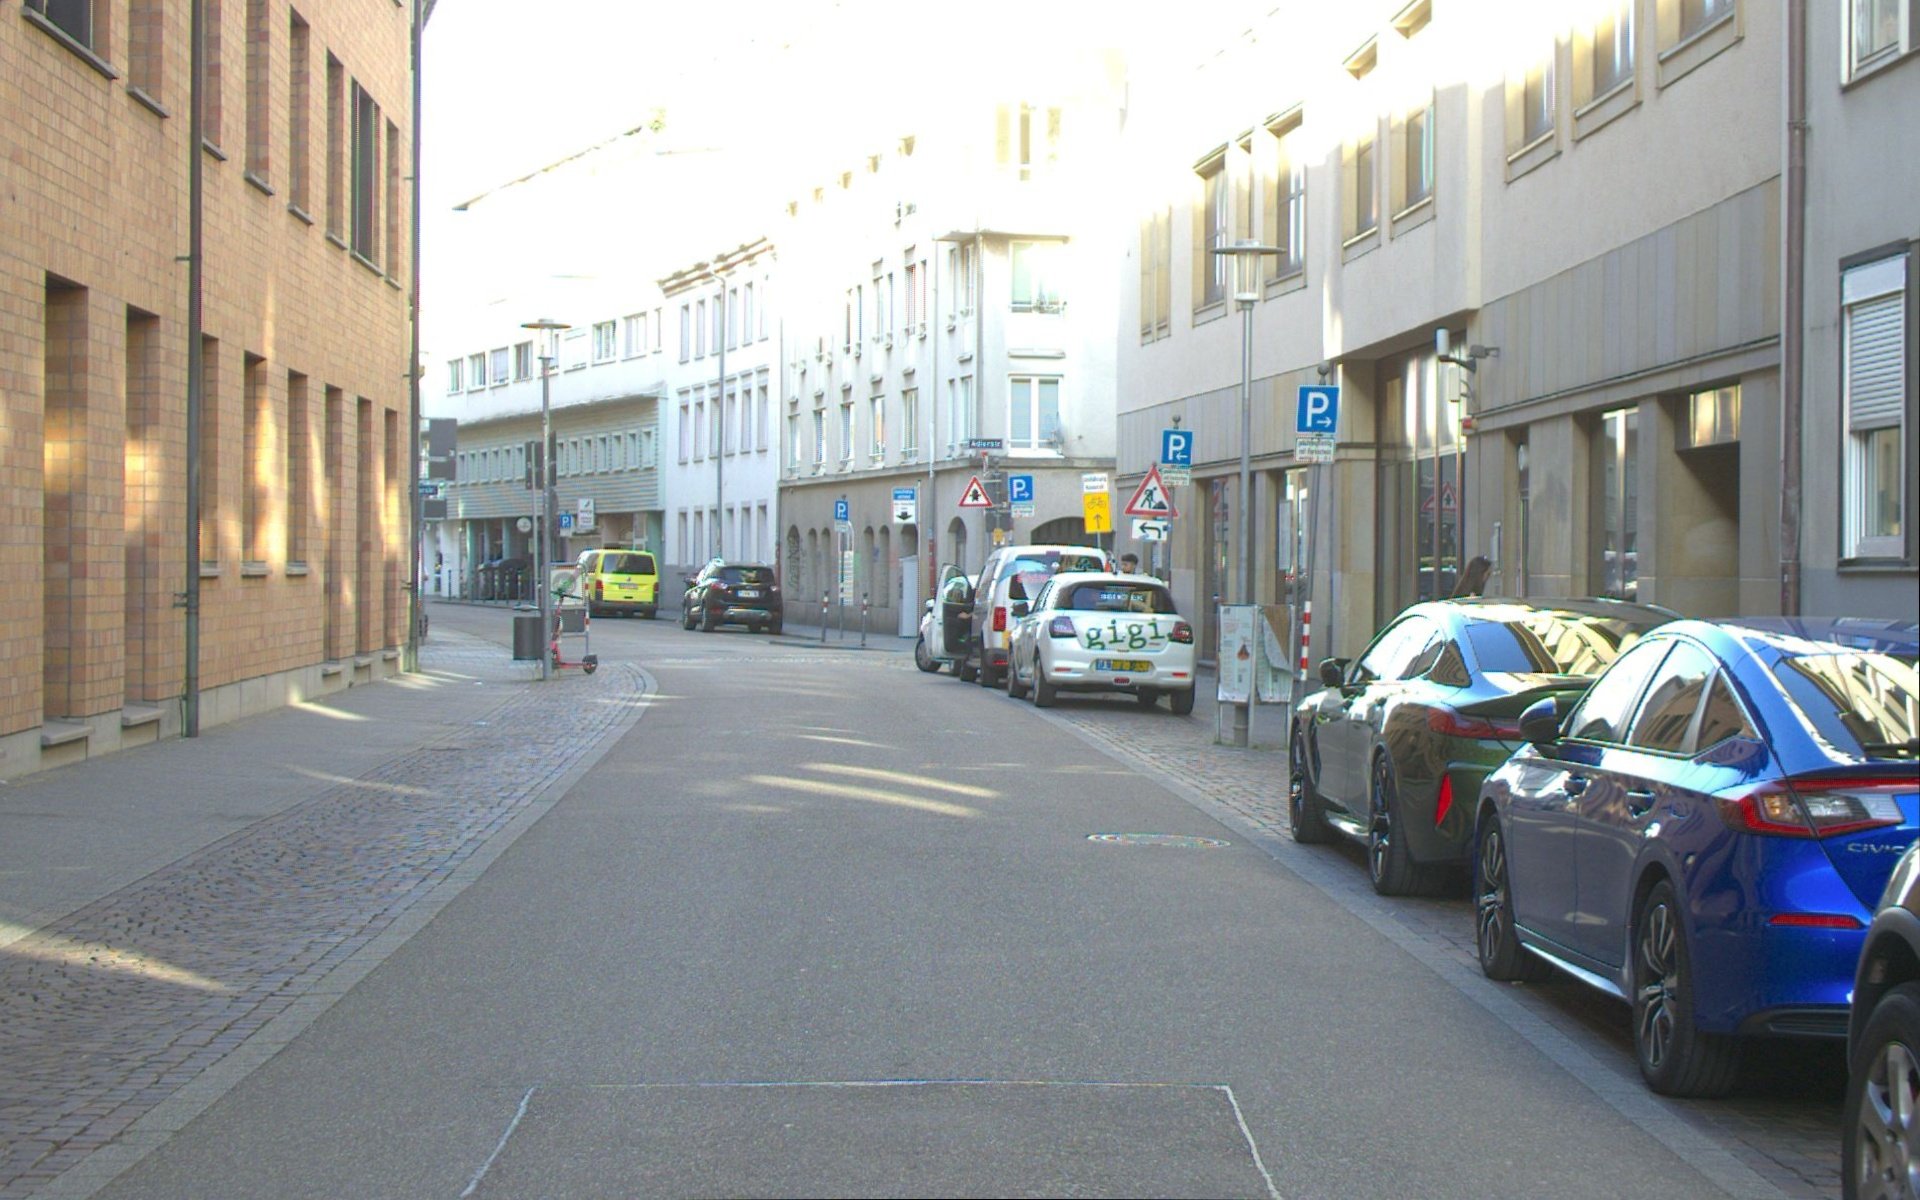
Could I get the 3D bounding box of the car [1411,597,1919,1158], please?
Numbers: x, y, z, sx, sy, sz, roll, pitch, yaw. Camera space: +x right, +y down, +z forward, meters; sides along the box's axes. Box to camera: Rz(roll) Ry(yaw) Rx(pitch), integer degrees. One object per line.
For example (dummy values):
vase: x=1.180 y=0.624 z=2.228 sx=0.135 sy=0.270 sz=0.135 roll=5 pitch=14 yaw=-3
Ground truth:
car: x=2.844 y=0.770 z=11.585 sx=1.807 sy=1.408 sz=4.790 roll=3 pitch=1 yaw=-2

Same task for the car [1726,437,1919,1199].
car: x=2.844 y=0.631 z=5.400 sx=2.103 sy=1.779 sz=5.052 roll=2 pitch=1 yaw=0

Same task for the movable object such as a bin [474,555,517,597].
movable object such as a bin: x=-16.479 y=-0.858 z=122.023 sx=1.131 sy=1.474 sz=1.740 roll=1 pitch=1 yaw=-21

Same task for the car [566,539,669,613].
car: x=-9.659 y=-0.701 z=96.597 sx=2.052 sy=2.007 sz=4.176 roll=1 pitch=1 yaw=-18

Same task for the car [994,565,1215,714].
car: x=1.566 y=0.404 z=38.702 sx=1.840 sy=1.473 sz=4.169 roll=3 pitch=1 yaw=-6

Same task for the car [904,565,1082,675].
car: x=0.448 y=0.264 z=50.907 sx=1.888 sy=1.513 sz=4.064 roll=1 pitch=1 yaw=-10

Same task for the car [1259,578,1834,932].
car: x=2.787 y=0.661 z=17.619 sx=1.894 sy=1.448 sz=5.226 roll=2 pitch=1 yaw=-1

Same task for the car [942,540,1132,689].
car: x=0.940 y=0.155 z=44.977 sx=1.830 sy=1.785 sz=5.215 roll=2 pitch=0 yaw=-5

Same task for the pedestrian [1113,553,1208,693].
pedestrian: x=2.614 y=0.298 z=44.961 sx=1.042 sy=1.795 sz=1.199 roll=1 pitch=0 yaw=-5

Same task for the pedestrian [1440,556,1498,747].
pedestrian: x=4.438 y=0.443 z=29.978 sx=0.481 sy=1.649 sz=0.538 roll=0 pitch=1 yaw=11

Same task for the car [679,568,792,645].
car: x=-5.291 y=0.131 z=80.537 sx=1.967 sy=1.686 sz=4.102 roll=2 pitch=1 yaw=-13

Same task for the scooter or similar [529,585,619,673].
scooter or similar: x=-5.461 y=0.400 z=48.697 sx=0.698 sy=1.213 sz=1.355 roll=0 pitch=1 yaw=22
